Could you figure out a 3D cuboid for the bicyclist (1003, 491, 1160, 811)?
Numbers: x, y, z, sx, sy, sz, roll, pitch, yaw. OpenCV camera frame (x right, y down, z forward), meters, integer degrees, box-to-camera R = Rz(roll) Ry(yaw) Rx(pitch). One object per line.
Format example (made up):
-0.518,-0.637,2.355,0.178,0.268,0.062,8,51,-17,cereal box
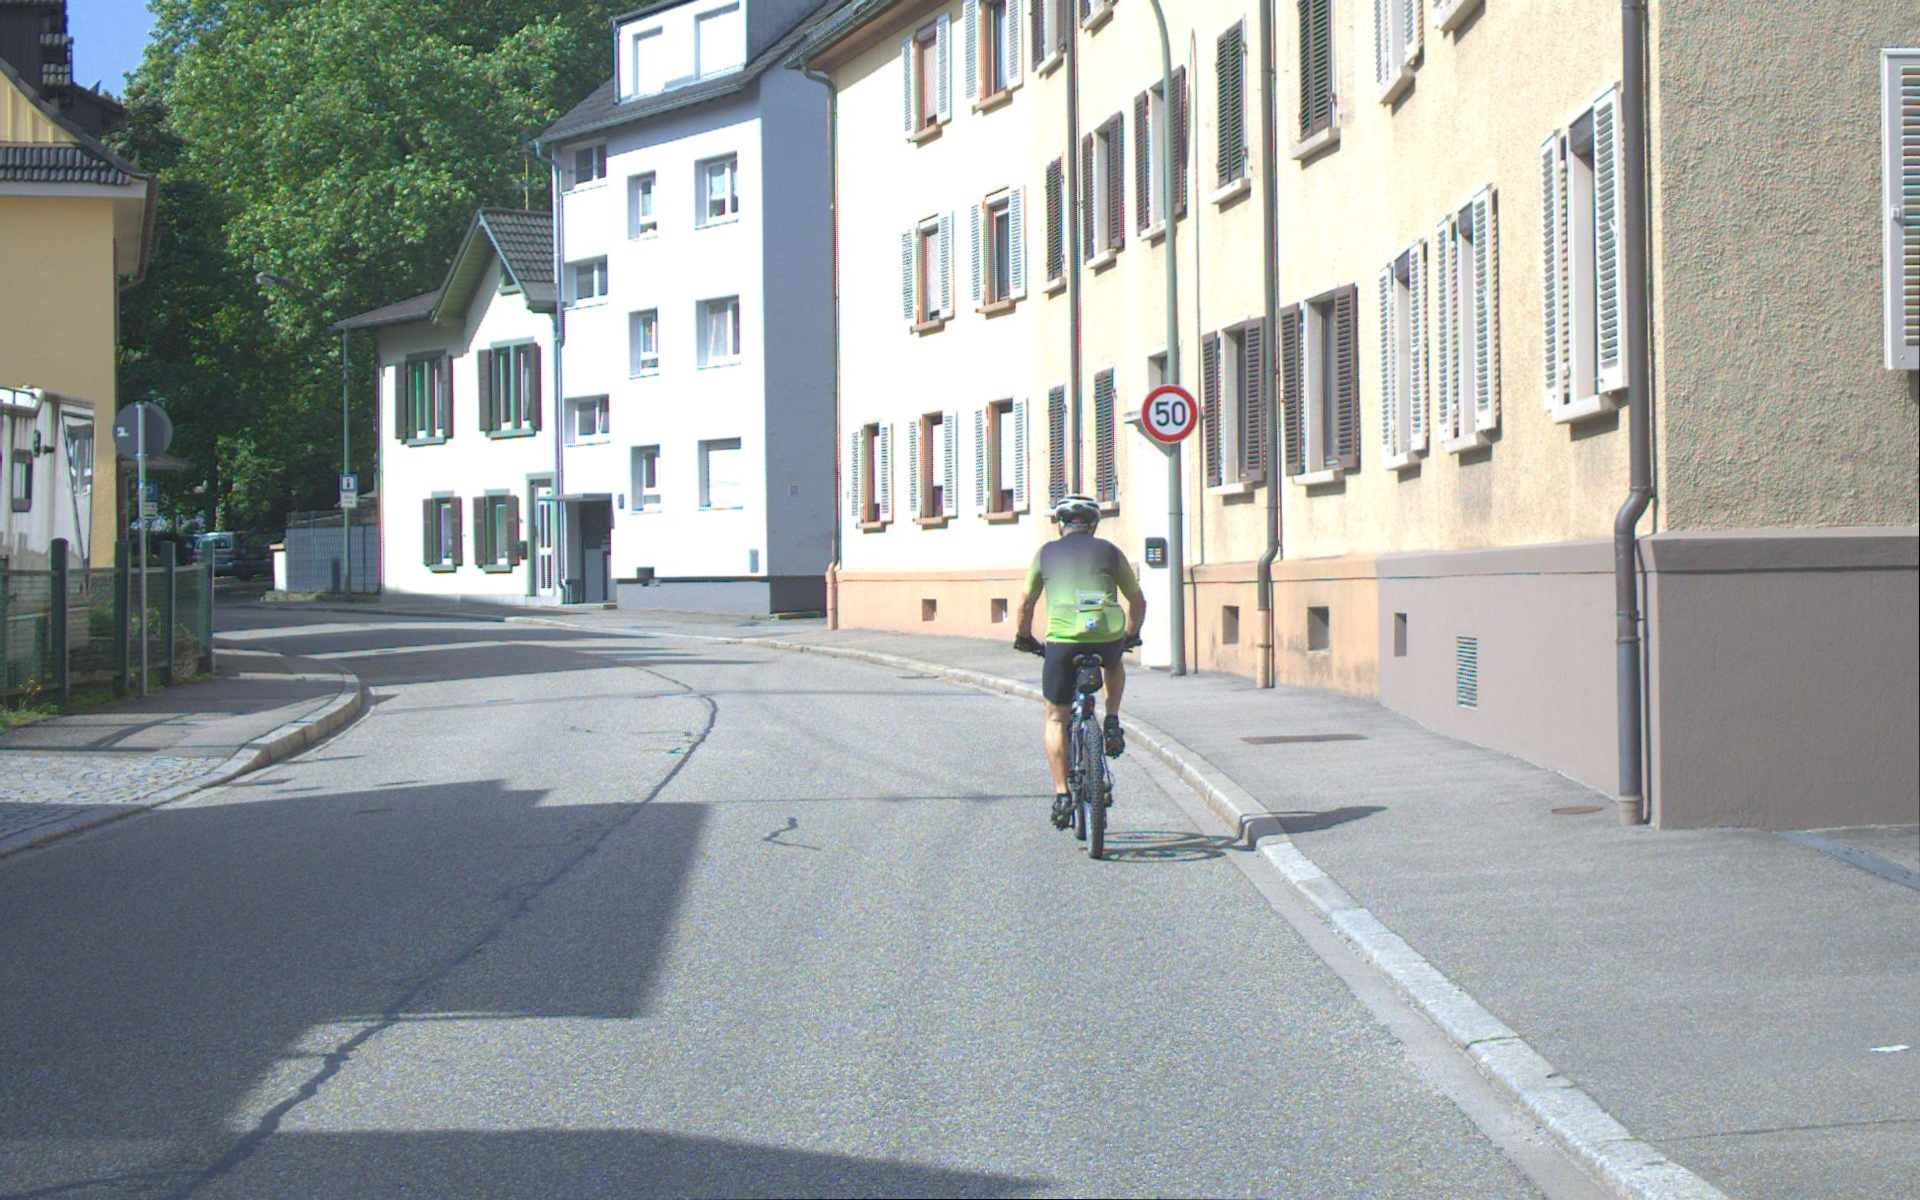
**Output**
0.592,0.242,16.952,0.685,1.526,0.716,-1,1,-3,bicyclist

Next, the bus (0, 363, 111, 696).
-10.783,-0.721,34.608,2.820,3.217,9.037,1,1,-4,bus

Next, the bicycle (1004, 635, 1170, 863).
0.610,0.712,17.016,0.698,1.032,1.471,0,1,-3,bicycle
